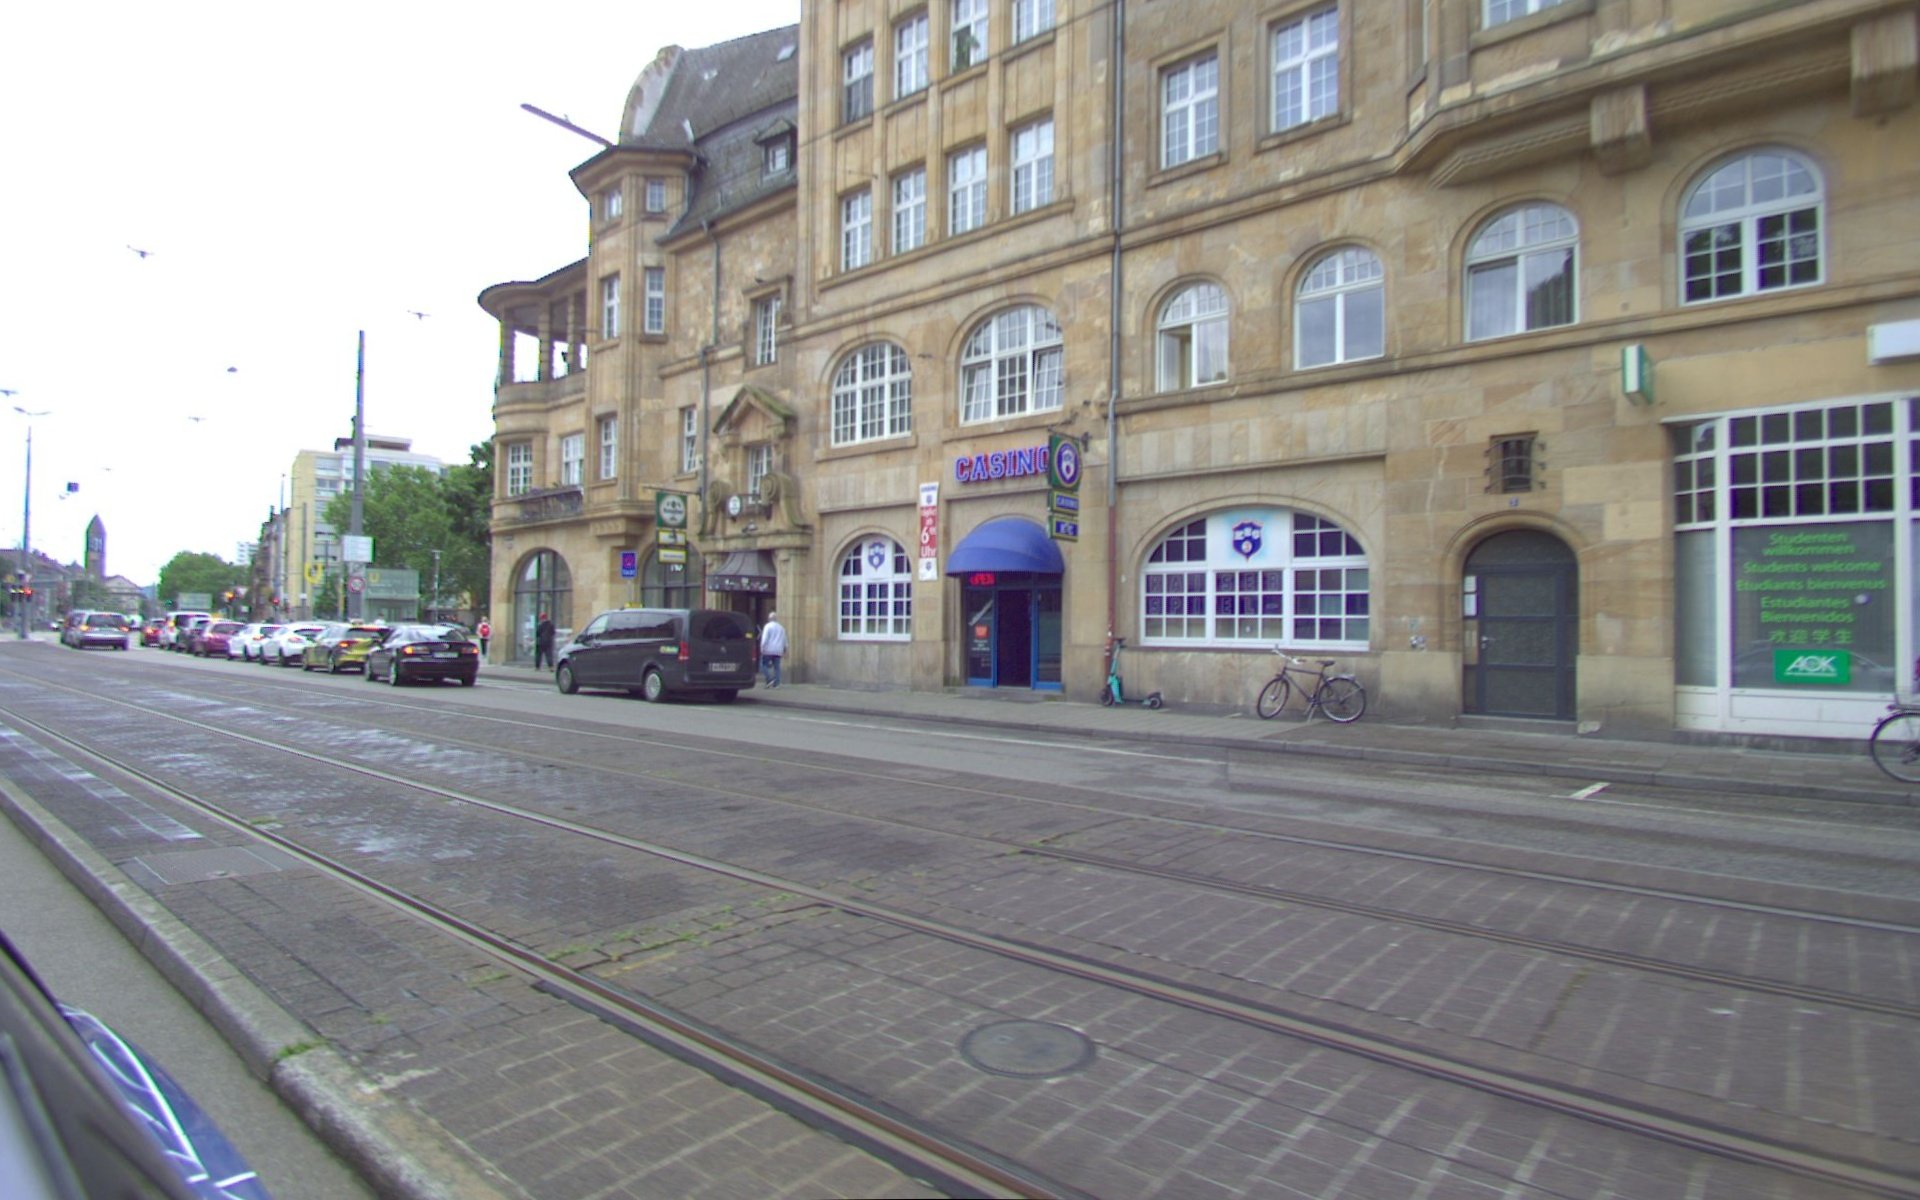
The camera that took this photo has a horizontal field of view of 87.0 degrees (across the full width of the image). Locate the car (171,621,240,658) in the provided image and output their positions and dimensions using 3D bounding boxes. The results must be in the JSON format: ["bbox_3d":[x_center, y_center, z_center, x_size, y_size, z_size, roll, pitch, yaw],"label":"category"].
[{"bbox_3d":[-33.988,1.756,45.548,1.841,1.546,4.305,5,-4,-44],"label":"car"}]

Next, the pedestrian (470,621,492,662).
[{"bbox_3d":[-20.227,1.736,42.712,0.628,1.732,0.529,0,-2,21],"label":"pedestrian"}]

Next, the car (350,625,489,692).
[{"bbox_3d":[-13.118,1.391,24.423,1.805,1.444,4.672,5,-5,-42],"label":"car"}]

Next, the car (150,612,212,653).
[{"bbox_3d":[-38.762,1.606,50.327,1.841,1.931,5.104,2,-2,-44],"label":"car"}]

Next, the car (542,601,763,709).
[{"bbox_3d":[-6.497,1.107,21.064,5.094,1.992,1.879,-1,-5,41],"label":"car"}]

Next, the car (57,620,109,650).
[{"bbox_3d":[-44.757,1.763,51.639,4.002,1.453,1.669,-1,-2,45],"label":"car"}]

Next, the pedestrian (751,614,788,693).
[{"bbox_3d":[-4.252,1.188,22.628,0.522,1.741,0.592,-1,-2,37],"label":"pedestrian"}]

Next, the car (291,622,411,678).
[{"bbox_3d":[-17.837,1.445,29.566,4.429,1.522,1.877,-2,-4,44],"label":"car"}]

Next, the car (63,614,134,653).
[{"bbox_3d":[-40.236,1.568,47.225,4.908,1.719,1.843,-1,-4,42],"label":"car"}]

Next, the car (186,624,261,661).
[{"bbox_3d":[-30.305,1.725,41.608,3.896,1.410,1.842,-1,-4,44],"label":"car"}]

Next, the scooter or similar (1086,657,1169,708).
[{"bbox_3d":[2.920,1.422,17.683,1.345,0.809,0.575,-1,-2,41],"label":"scooter or similar"}]

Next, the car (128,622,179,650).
[{"bbox_3d":[-43.342,1.932,54.360,4.002,1.453,1.669,-1,-2,45],"label":"car"}]

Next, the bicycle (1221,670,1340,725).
[{"bbox_3d":[5.032,1.516,15.974,1.705,0.751,0.575,-1,-2,41],"label":"bicycle"}]

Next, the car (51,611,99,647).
[{"bbox_3d":[-48.780,1.600,55.748,4.388,1.915,1.669,-1,-2,45],"label":"car"}]

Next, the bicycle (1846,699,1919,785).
[{"bbox_3d":[9.683,1.358,9.337,2.249,0.751,0.575,-1,-2,41],"label":"bicycle"}]

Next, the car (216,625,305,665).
[{"bbox_3d":[-26.328,1.674,38.042,4.361,1.390,1.728,-1,-5,42],"label":"car"}]

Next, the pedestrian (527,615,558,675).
[{"bbox_3d":[-12.224,1.307,29.632,0.764,1.741,0.490,-1,-2,38],"label":"pedestrian"}]

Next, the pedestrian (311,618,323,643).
[{"bbox_3d":[-45.014,2.105,70.856,0.592,1.741,0.915,1,-2,-24],"label":"pedestrian"}]

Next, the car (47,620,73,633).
[{"bbox_3d":[-102.755,2.990,115.591,1.968,1.453,4.007,2,-2,-39],"label":"car"}]

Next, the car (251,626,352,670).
[{"bbox_3d":[-22.133,1.571,33.942,4.259,1.390,1.905,-1,-2,44],"label":"car"}]
